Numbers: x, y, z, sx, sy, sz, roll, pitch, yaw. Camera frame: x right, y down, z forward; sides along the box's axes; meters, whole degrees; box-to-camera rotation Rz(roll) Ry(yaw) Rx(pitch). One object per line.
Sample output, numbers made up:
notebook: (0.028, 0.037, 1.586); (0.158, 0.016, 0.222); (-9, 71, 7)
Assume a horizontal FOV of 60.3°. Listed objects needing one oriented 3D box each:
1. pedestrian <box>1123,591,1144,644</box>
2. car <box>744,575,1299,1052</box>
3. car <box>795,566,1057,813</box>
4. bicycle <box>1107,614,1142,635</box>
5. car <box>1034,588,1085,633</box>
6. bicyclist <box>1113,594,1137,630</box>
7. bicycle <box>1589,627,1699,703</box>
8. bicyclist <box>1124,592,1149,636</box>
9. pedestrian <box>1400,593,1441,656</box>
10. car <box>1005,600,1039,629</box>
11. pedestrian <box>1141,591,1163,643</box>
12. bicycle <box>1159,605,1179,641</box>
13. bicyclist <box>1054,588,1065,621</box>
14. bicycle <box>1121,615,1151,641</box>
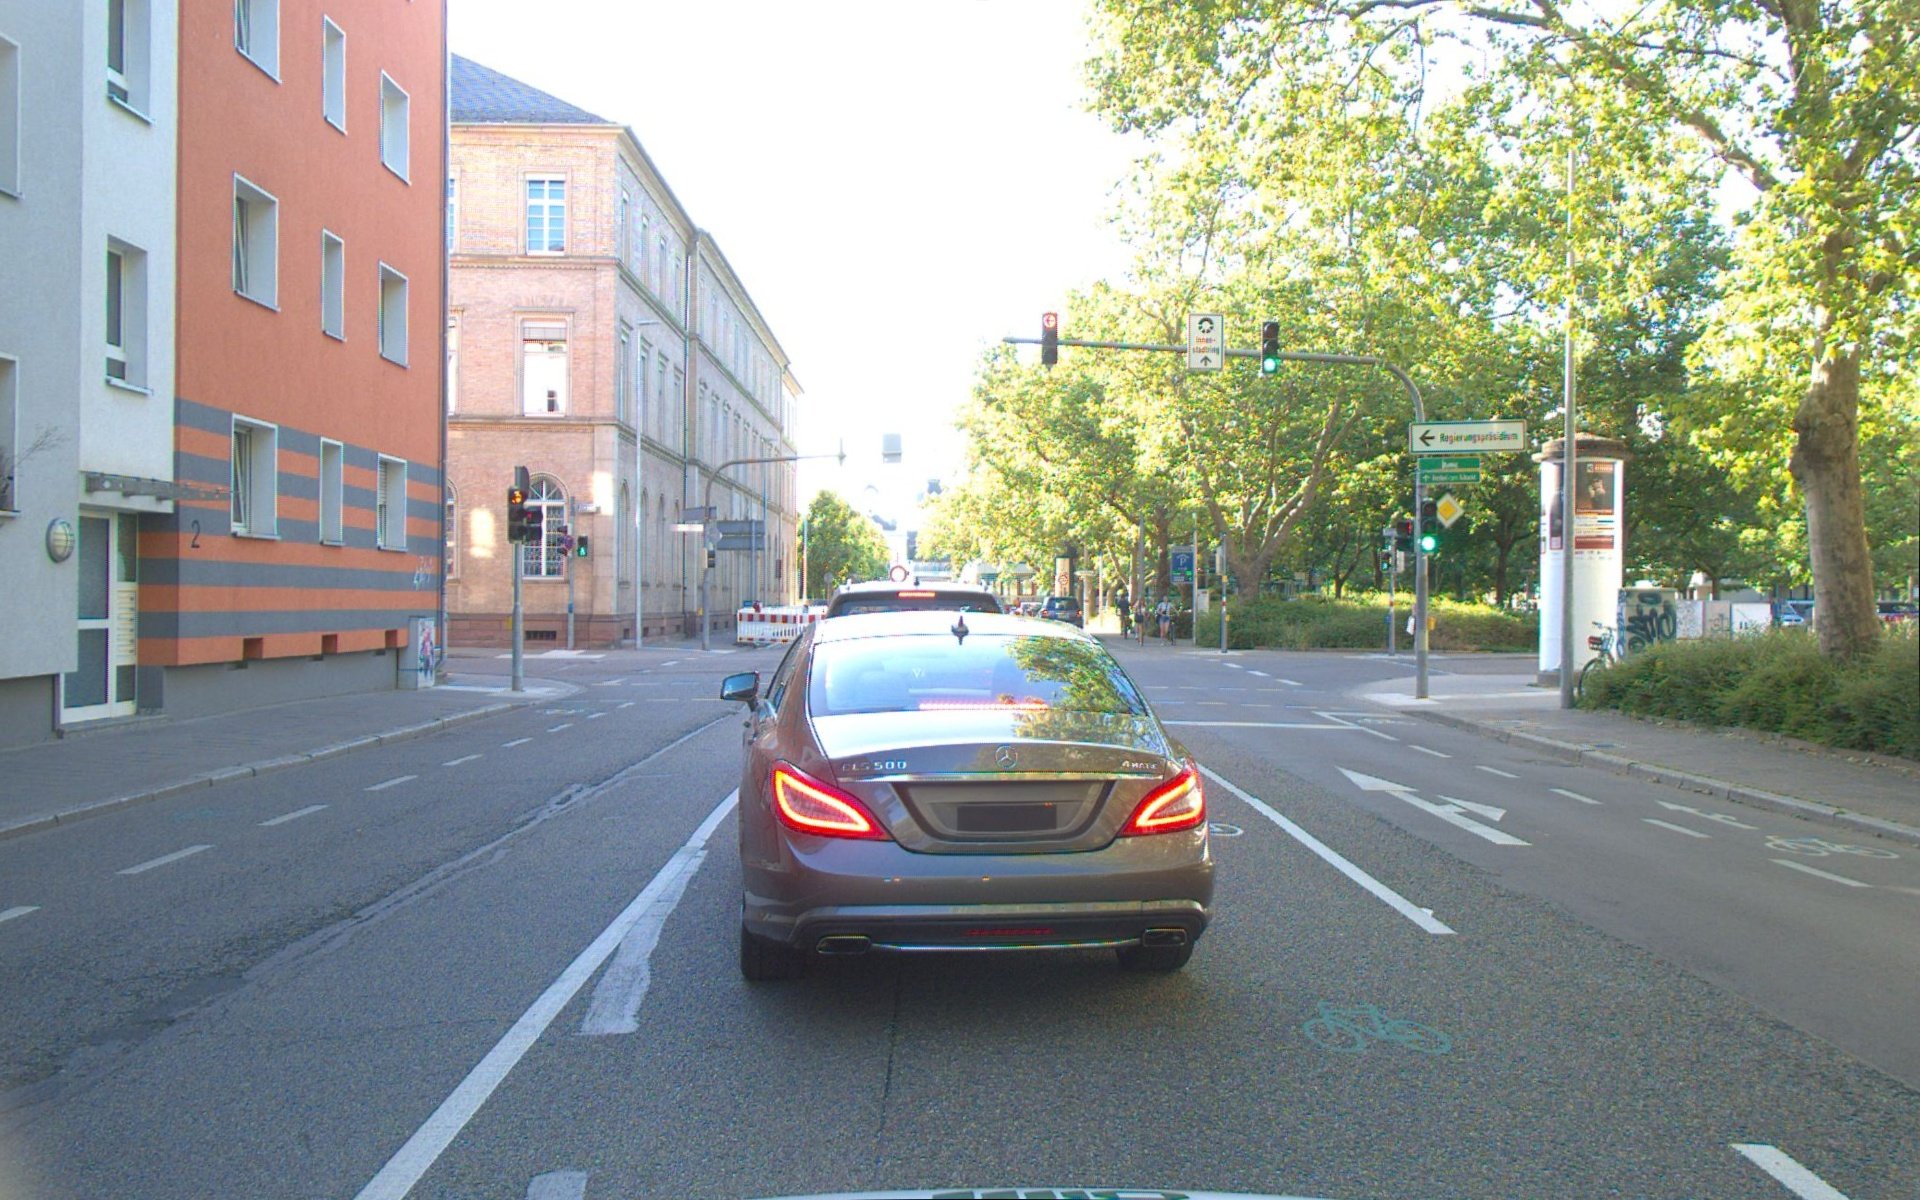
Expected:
pedestrian: (6.112, 0.610, 58.285); (0.623, 1.828, 0.698); (1, -1, -5)
car: (-0.029, 0.692, 7.477); (1.826, 1.545, 3.993); (1, 0, -8)
car: (-0.266, 0.621, 13.605); (1.823, 1.712, 3.999); (1, 0, -1)
bicycle: (6.588, 0.980, 66.035); (0.709, 0.805, 1.925); (1, 0, 27)
car: (4.189, 0.428, 70.187); (1.823, 1.794, 4.481); (1, 0, -1)
bicyclist: (6.577, 0.491, 65.994); (0.719, 1.422, 0.697); (1, -1, 28)
bicycle: (9.876, 0.924, 23.850); (1.868, 1.046, 0.633); (1, -1, -39)
bicyclist: (6.665, 0.537, 62.653); (0.808, 1.646, 0.957); (1, 0, -1)
pedestrian: (11.622, 0.610, 41.735); (0.624, 1.572, 0.907); (1, -1, -13)
car: (3.427, 0.791, 92.226); (1.670, 1.545, 3.999); (1, 0, -1)
pedestrian: (6.774, 0.600, 58.451); (0.623, 1.791, 0.698); (1, -1, -5)
bicycle: (7.385, 0.807, 58.501); (0.472, 1.223, 1.606); (1, 0, -1)
bicyclist: (6.312, 0.274, 105.034); (0.583, 2.075, 0.565); (1, -1, -5)
bicycle: (6.650, 1.049, 62.772); (0.811, 0.940, 2.616); (1, 0, -1)
